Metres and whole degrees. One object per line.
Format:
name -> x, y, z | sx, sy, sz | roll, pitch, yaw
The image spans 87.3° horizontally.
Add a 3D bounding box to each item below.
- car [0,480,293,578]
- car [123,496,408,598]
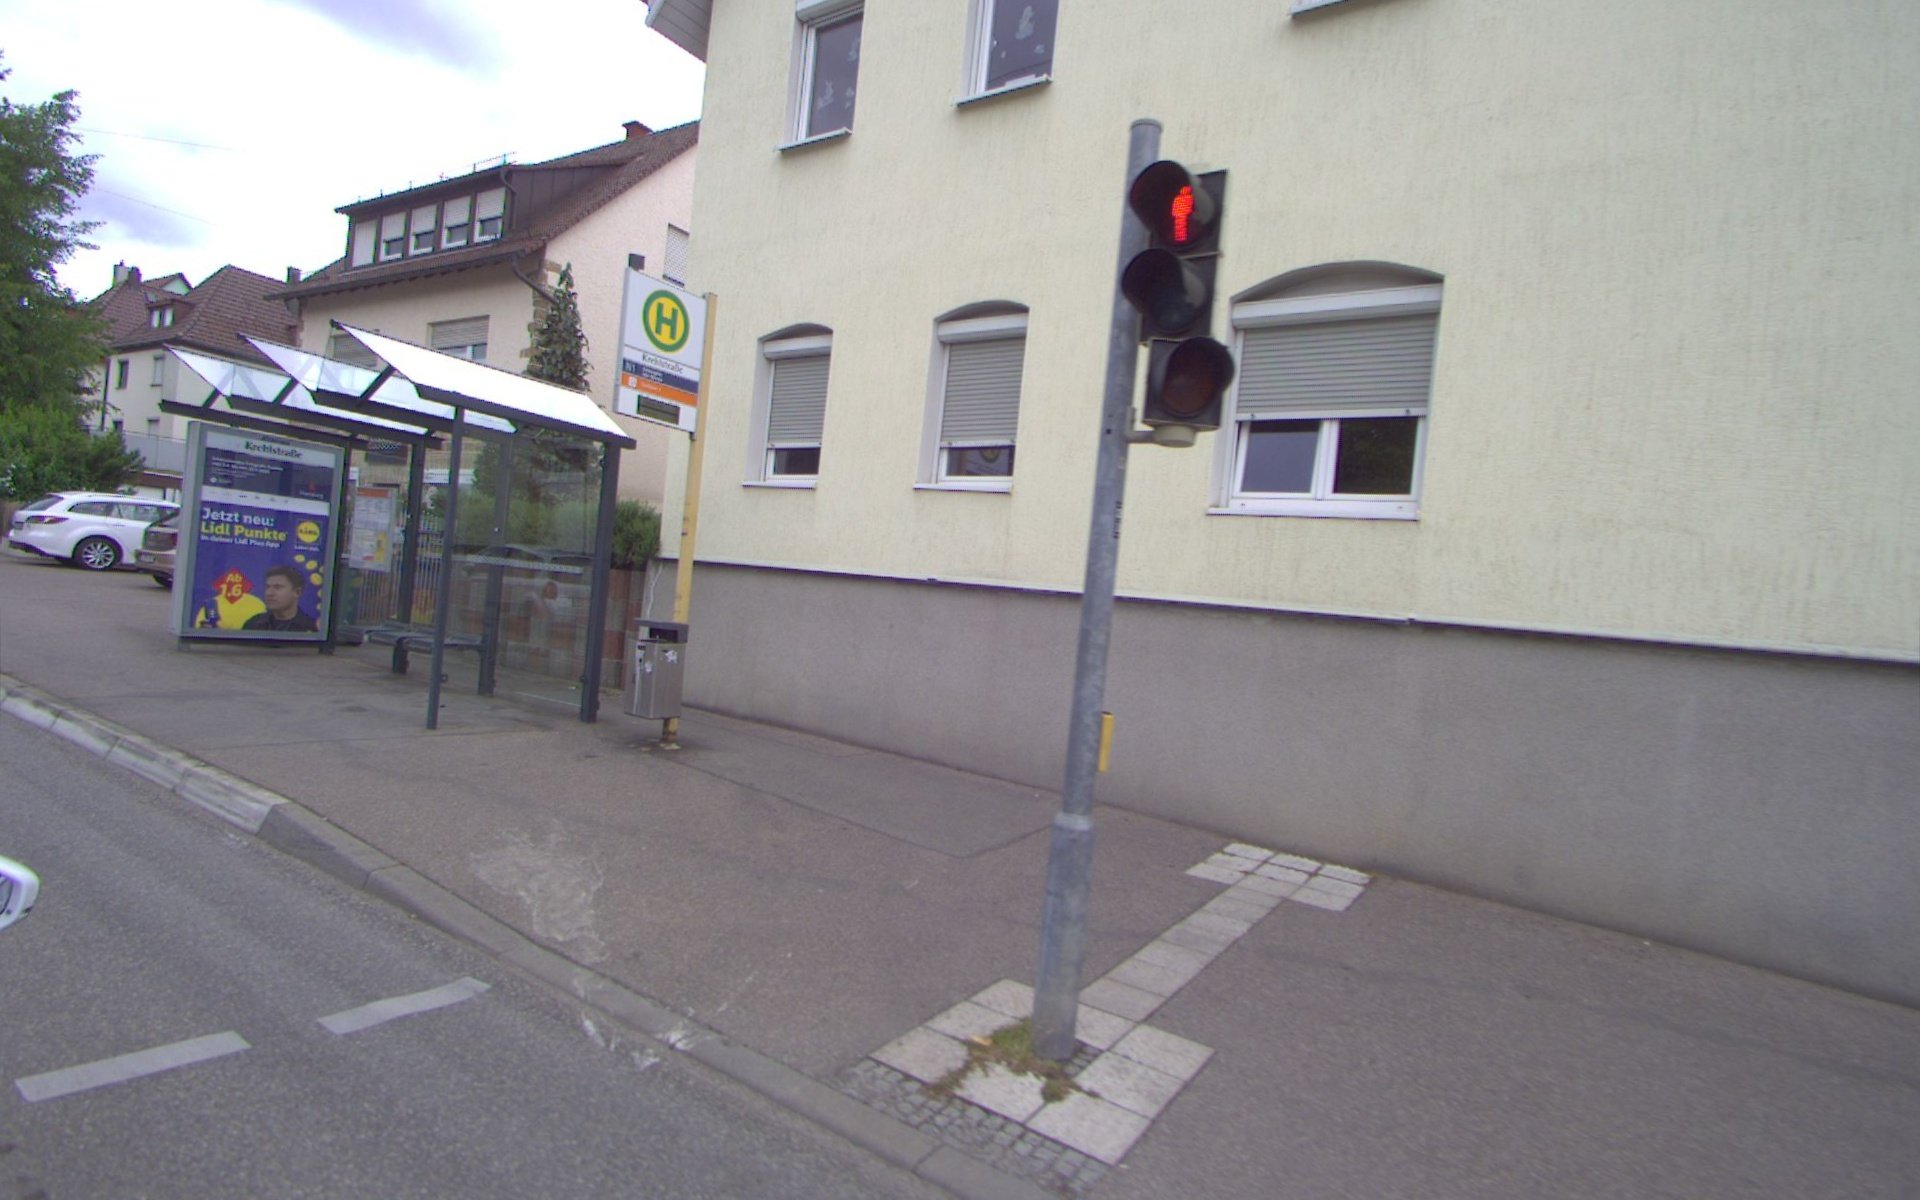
car -> -16.501, -1.393, 20.545 | 1.836, 1.507, 4.417 | 6, 1, 35
car -> -12.162, -0.876, 17.852 | 1.613, 1.420, 3.804 | 5, 1, 31
